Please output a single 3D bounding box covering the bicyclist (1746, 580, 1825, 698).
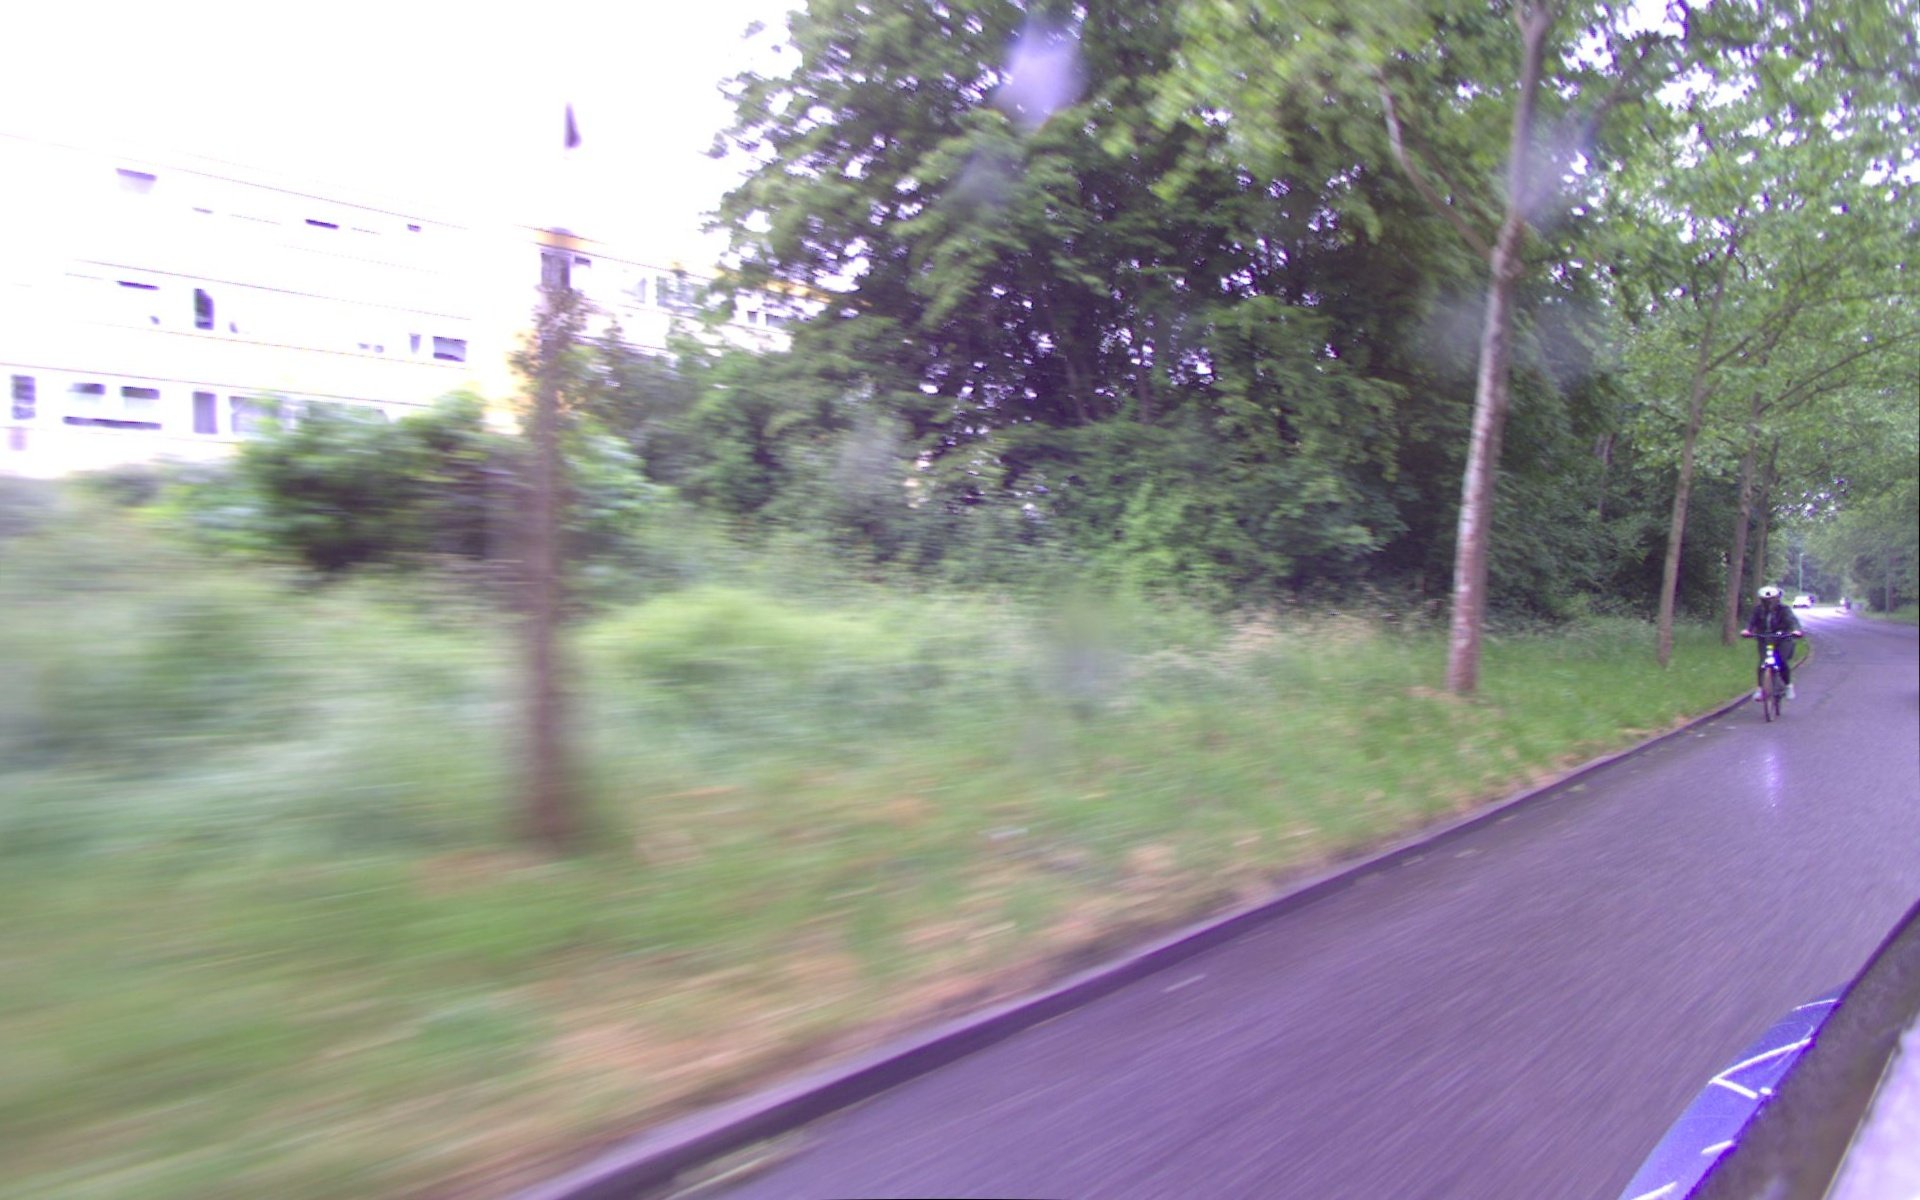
[{"bbox_3d":[10.989,0.490,13.475,0.786,1.516,0.697,0,0,-41],"label":"bicyclist"}]

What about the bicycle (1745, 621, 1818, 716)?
[{"bbox_3d":[10.996,0.878,13.524,1.801,1.148,0.453,-1,0,-41],"label":"bicycle"}]
